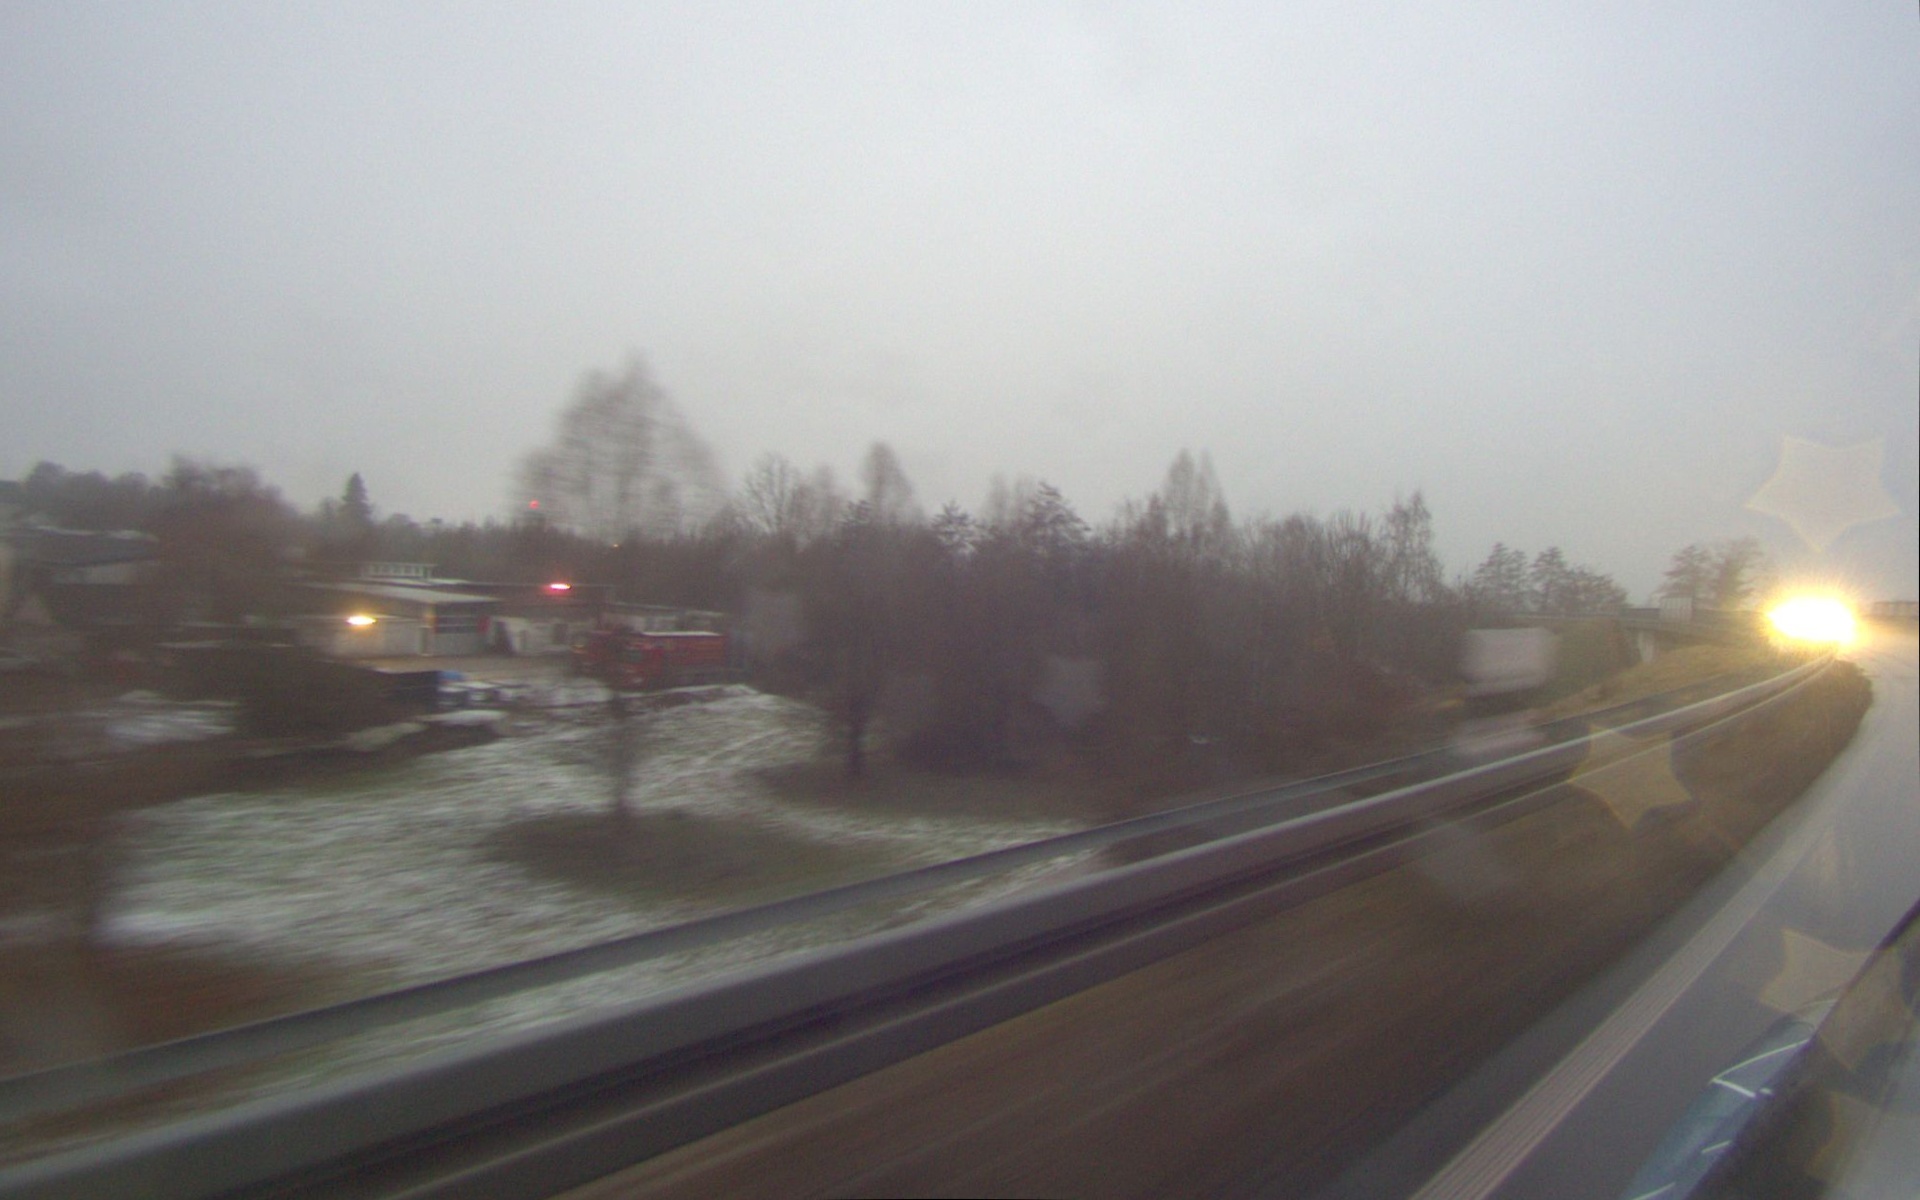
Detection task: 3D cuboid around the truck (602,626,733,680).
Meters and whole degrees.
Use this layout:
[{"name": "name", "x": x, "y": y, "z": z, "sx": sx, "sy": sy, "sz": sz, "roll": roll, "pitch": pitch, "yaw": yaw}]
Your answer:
[{"name": "truck", "x": -21.190, "y": 3.734, "z": 74.093, "sx": 2.772, "sy": 3.273, "sz": 10.044, "roll": 2, "pitch": 1, "yaw": 30}]

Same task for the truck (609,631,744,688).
[{"name": "truck", "x": -19.506, "y": 4.015, "z": 70.477, "sx": 2.772, "sy": 3.273, "sz": 10.044, "roll": 1, "pitch": 1, "yaw": 30}]

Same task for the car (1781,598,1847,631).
[{"name": "car", "x": 47.089, "y": 0.805, "z": 55.901, "sx": 2.089, "sy": 1.594, "sz": 4.742, "roll": 4, "pitch": 1, "yaw": 33}]
